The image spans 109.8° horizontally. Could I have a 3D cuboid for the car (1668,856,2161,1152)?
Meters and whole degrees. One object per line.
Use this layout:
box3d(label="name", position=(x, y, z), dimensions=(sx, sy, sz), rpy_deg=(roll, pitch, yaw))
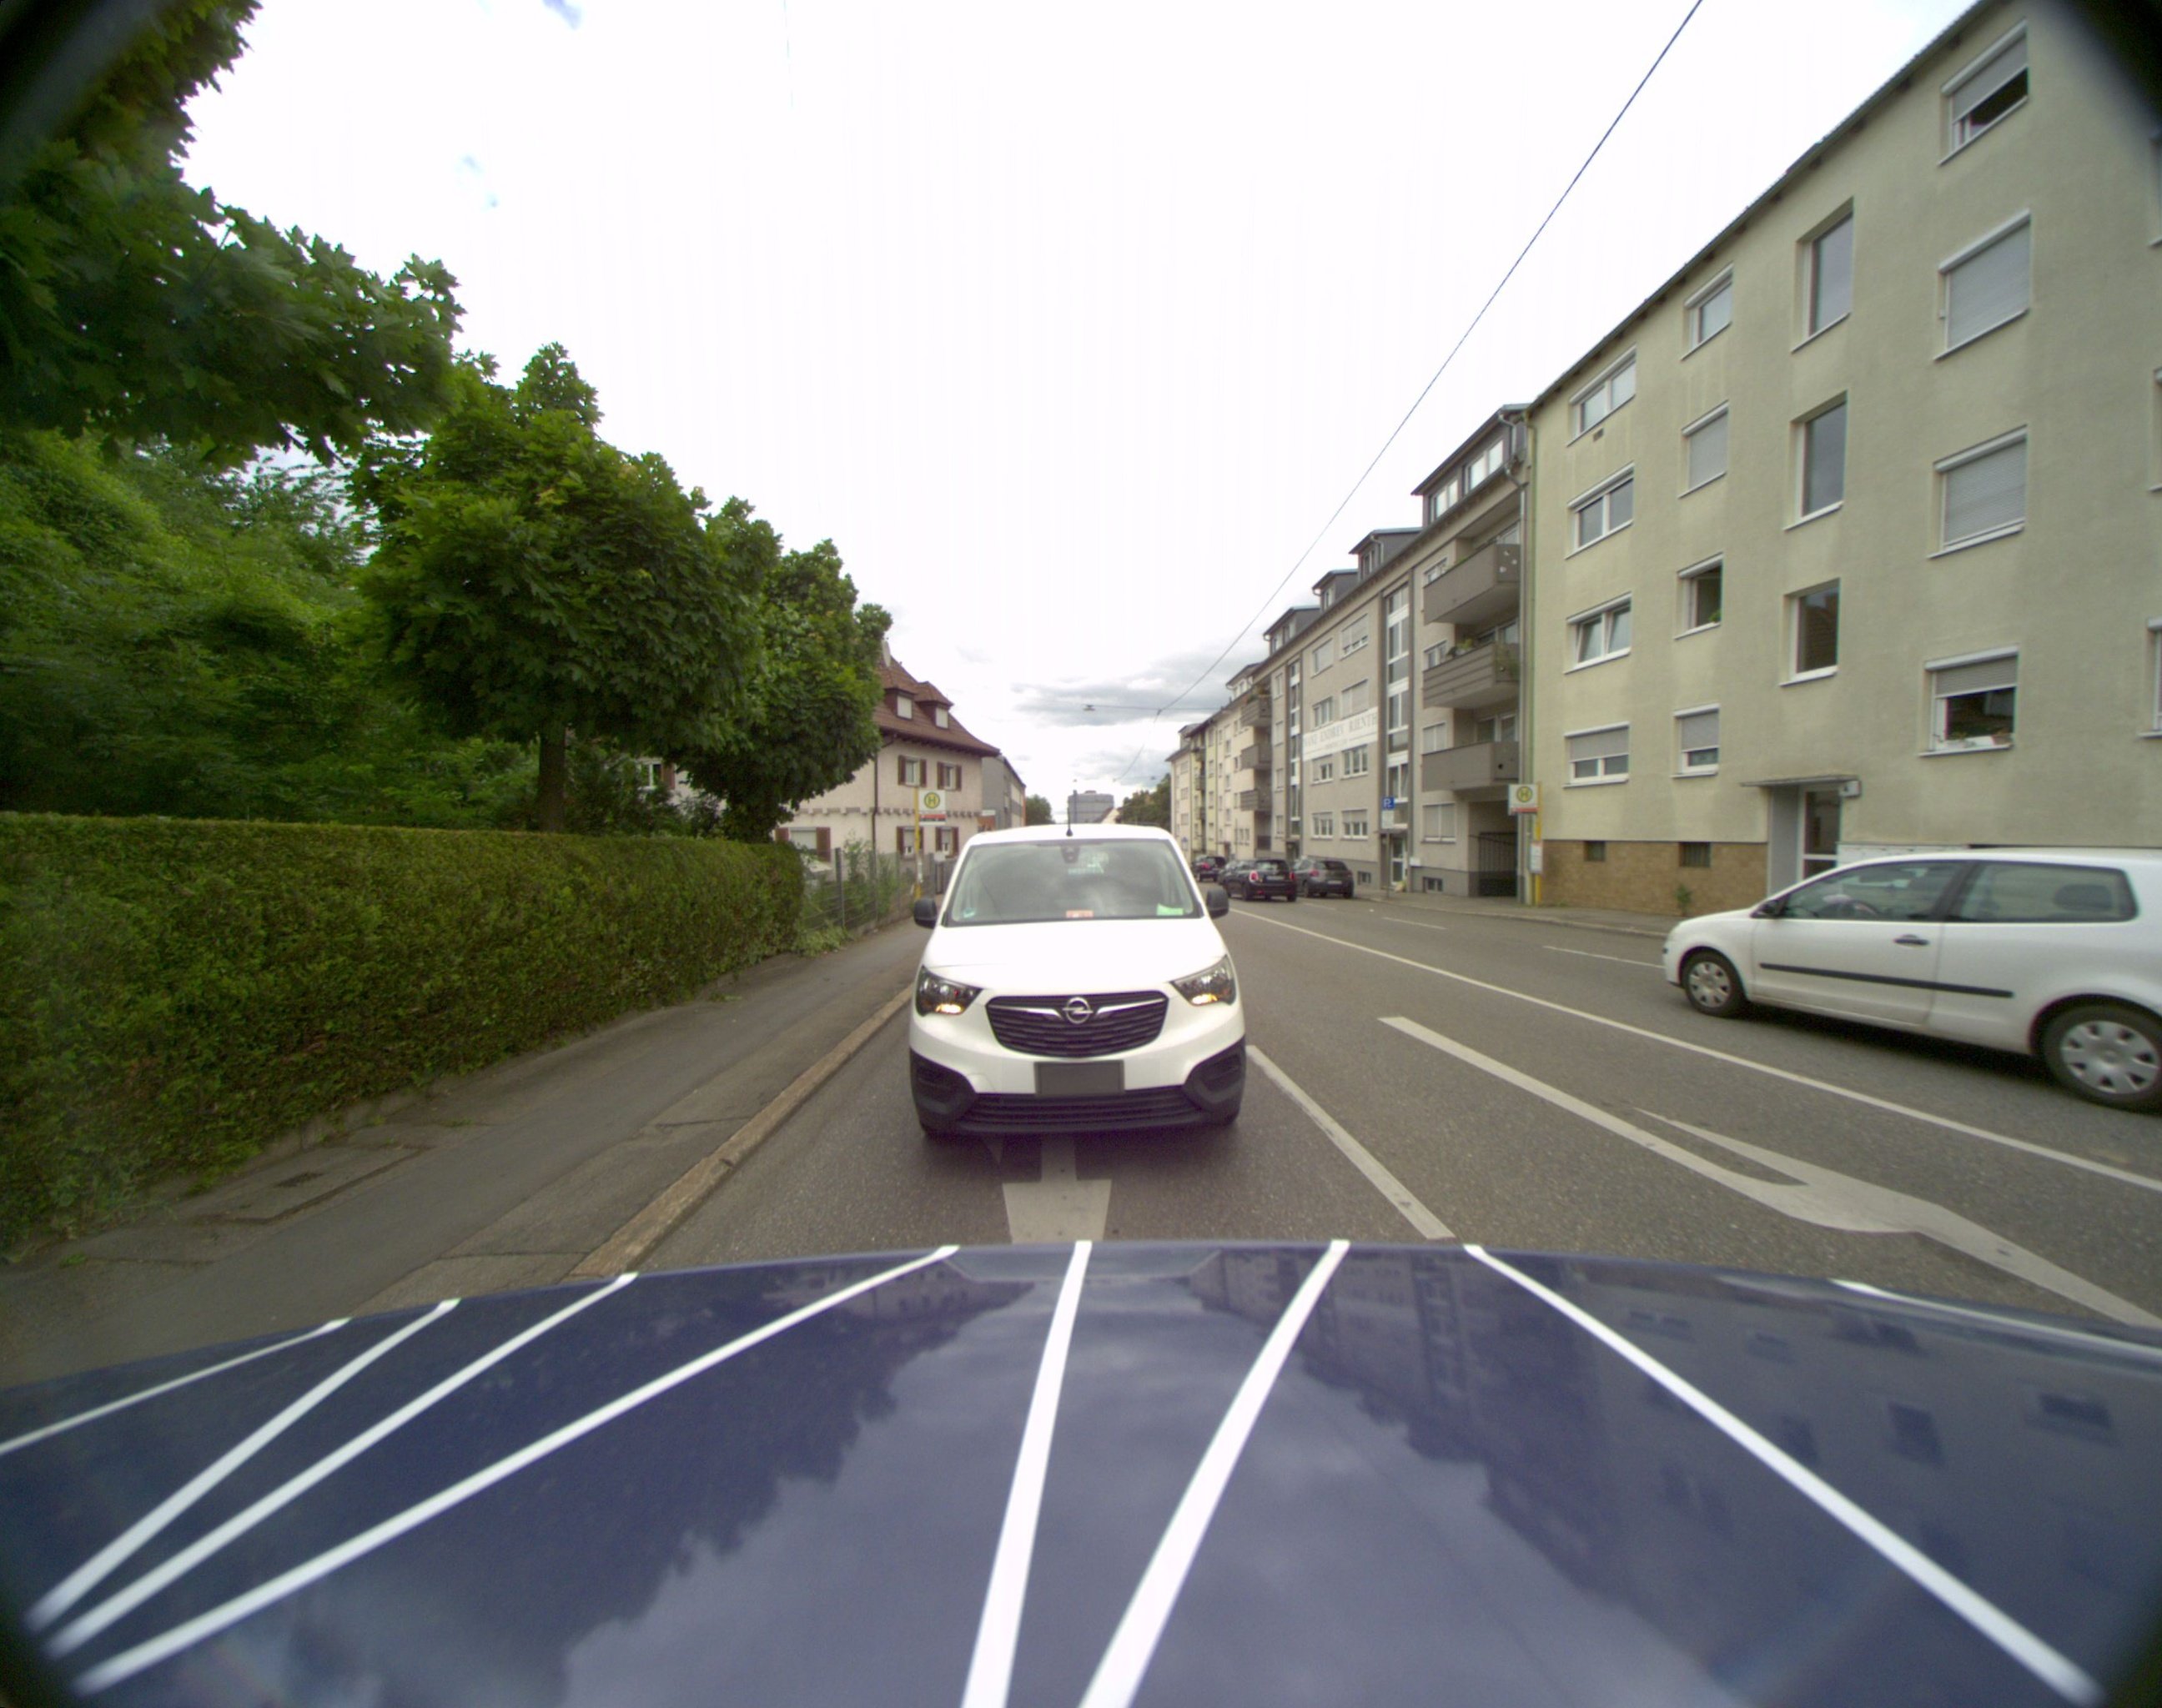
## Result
box3d(label="car", position=(6.287, 0.783, 5.222), dimensions=(1.593, 1.474, 3.598), rpy_deg=(-1, 1, -4))

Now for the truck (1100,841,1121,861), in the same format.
box3d(label="truck", position=(3.791, -0.448, 97.964), dimensions=(2.546, 2.522, 5.493), rpy_deg=(0, 1, 0))

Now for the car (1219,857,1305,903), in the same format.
box3d(label="car", position=(6.067, 0.832, 25.855), dimensions=(1.776, 1.395, 3.642), rpy_deg=(0, 1, -5))

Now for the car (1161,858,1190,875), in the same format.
box3d(label="car", position=(8.105, 1.059, 65.692), dimensions=(1.776, 1.395, 3.757), rpy_deg=(0, 1, -5))

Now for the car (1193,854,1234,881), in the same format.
box3d(label="car", position=(8.429, 0.830, 48.686), dimensions=(1.776, 1.591, 3.538), rpy_deg=(0, 1, -5))

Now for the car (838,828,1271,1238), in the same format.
box3d(label="car", position=(-0.083, 0.775, 5.737), dimensions=(1.862, 1.772, 4.711), rpy_deg=(-2, 1, 1))

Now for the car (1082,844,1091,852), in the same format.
box3d(label="car", position=(1.346, -1.551, 183.898), dimensions=(1.999, 1.892, 3.998), rpy_deg=(-1, 0, -4))

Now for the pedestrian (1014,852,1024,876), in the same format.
box3d(label="pedestrian", position=(-4.924, 0.795, 60.242), dimensions=(0.647, 1.830, 0.592), rpy_deg=(-1, 1, 4))

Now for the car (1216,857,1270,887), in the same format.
box3d(label="car", position=(8.385, 0.906, 39.552), dimensions=(1.776, 1.395, 3.538), rpy_deg=(0, 1, -5))

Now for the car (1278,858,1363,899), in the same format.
box3d(label="car", position=(8.897, 0.877, 28.574), dimensions=(1.776, 1.403, 3.685), rpy_deg=(0, 1, -5))

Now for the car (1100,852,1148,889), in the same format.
box3d(label="car", position=(2.039, 0.770, 37.254), dimensions=(1.863, 1.601, 4.478), rpy_deg=(-2, 1, -2))
